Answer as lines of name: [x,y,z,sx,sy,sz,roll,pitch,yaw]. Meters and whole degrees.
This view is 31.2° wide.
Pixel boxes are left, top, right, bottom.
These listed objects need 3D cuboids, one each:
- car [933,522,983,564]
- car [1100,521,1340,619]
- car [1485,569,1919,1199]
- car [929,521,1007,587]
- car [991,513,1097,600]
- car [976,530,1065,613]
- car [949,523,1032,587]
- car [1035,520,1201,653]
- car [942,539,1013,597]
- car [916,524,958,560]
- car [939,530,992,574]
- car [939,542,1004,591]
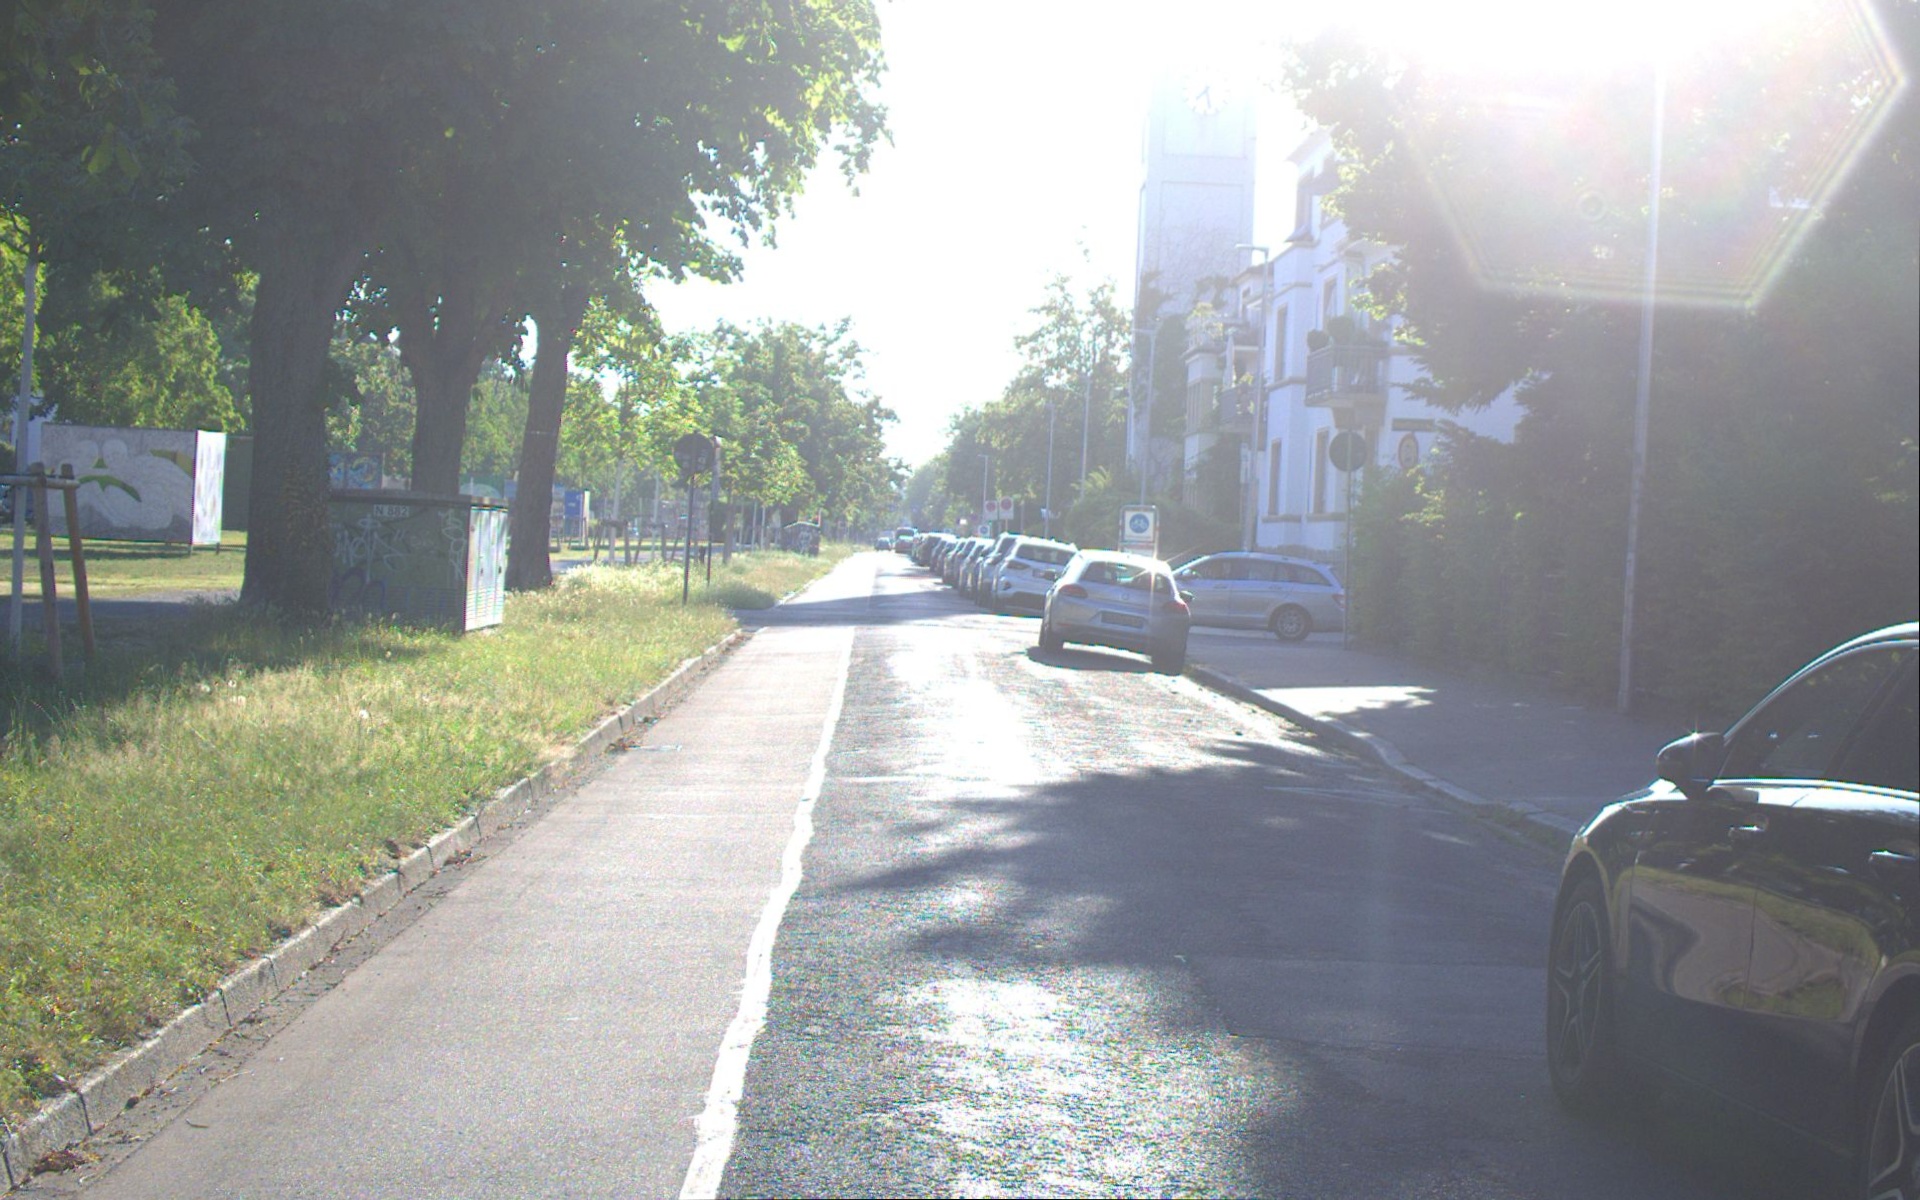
car: [-0.084,-2.348,142.341,1.993,1.624,4.000,3,1,0]
car: [4.442,-0.527,59.113,3.987,1.415,1.767,3,3,3]
car: [2.600,0.763,7.925,1.748,1.472,4.289,5,1,-4]
car: [0.185,-1.217,89.074,1.758,1.599,4.359,3,1,-2]
car: [1.646,-0.882,68.483,1.758,1.599,4.359,3,1,-2]
car: [1.296,-0.651,74.714,1.685,1.645,4.100,3,2,-1]
car: [0.718,-1.114,83.420,1.760,1.415,4.001,3,2,-2]
car: [2.035,-0.209,45.253,1.757,1.415,4.072,9,1,-1]
car: [0.479,-0.943,99.121,1.761,1.516,4.001,4,1,-2]
car: [-1.148,-2.872,170.384,1.980,1.677,4.000,3,1,0]
car: [0.197,-1.924,136.066,1.993,1.624,4.000,3,1,0]
car: [0.359,-1.080,109.918,1.993,1.459,4.000,3,1,0]
